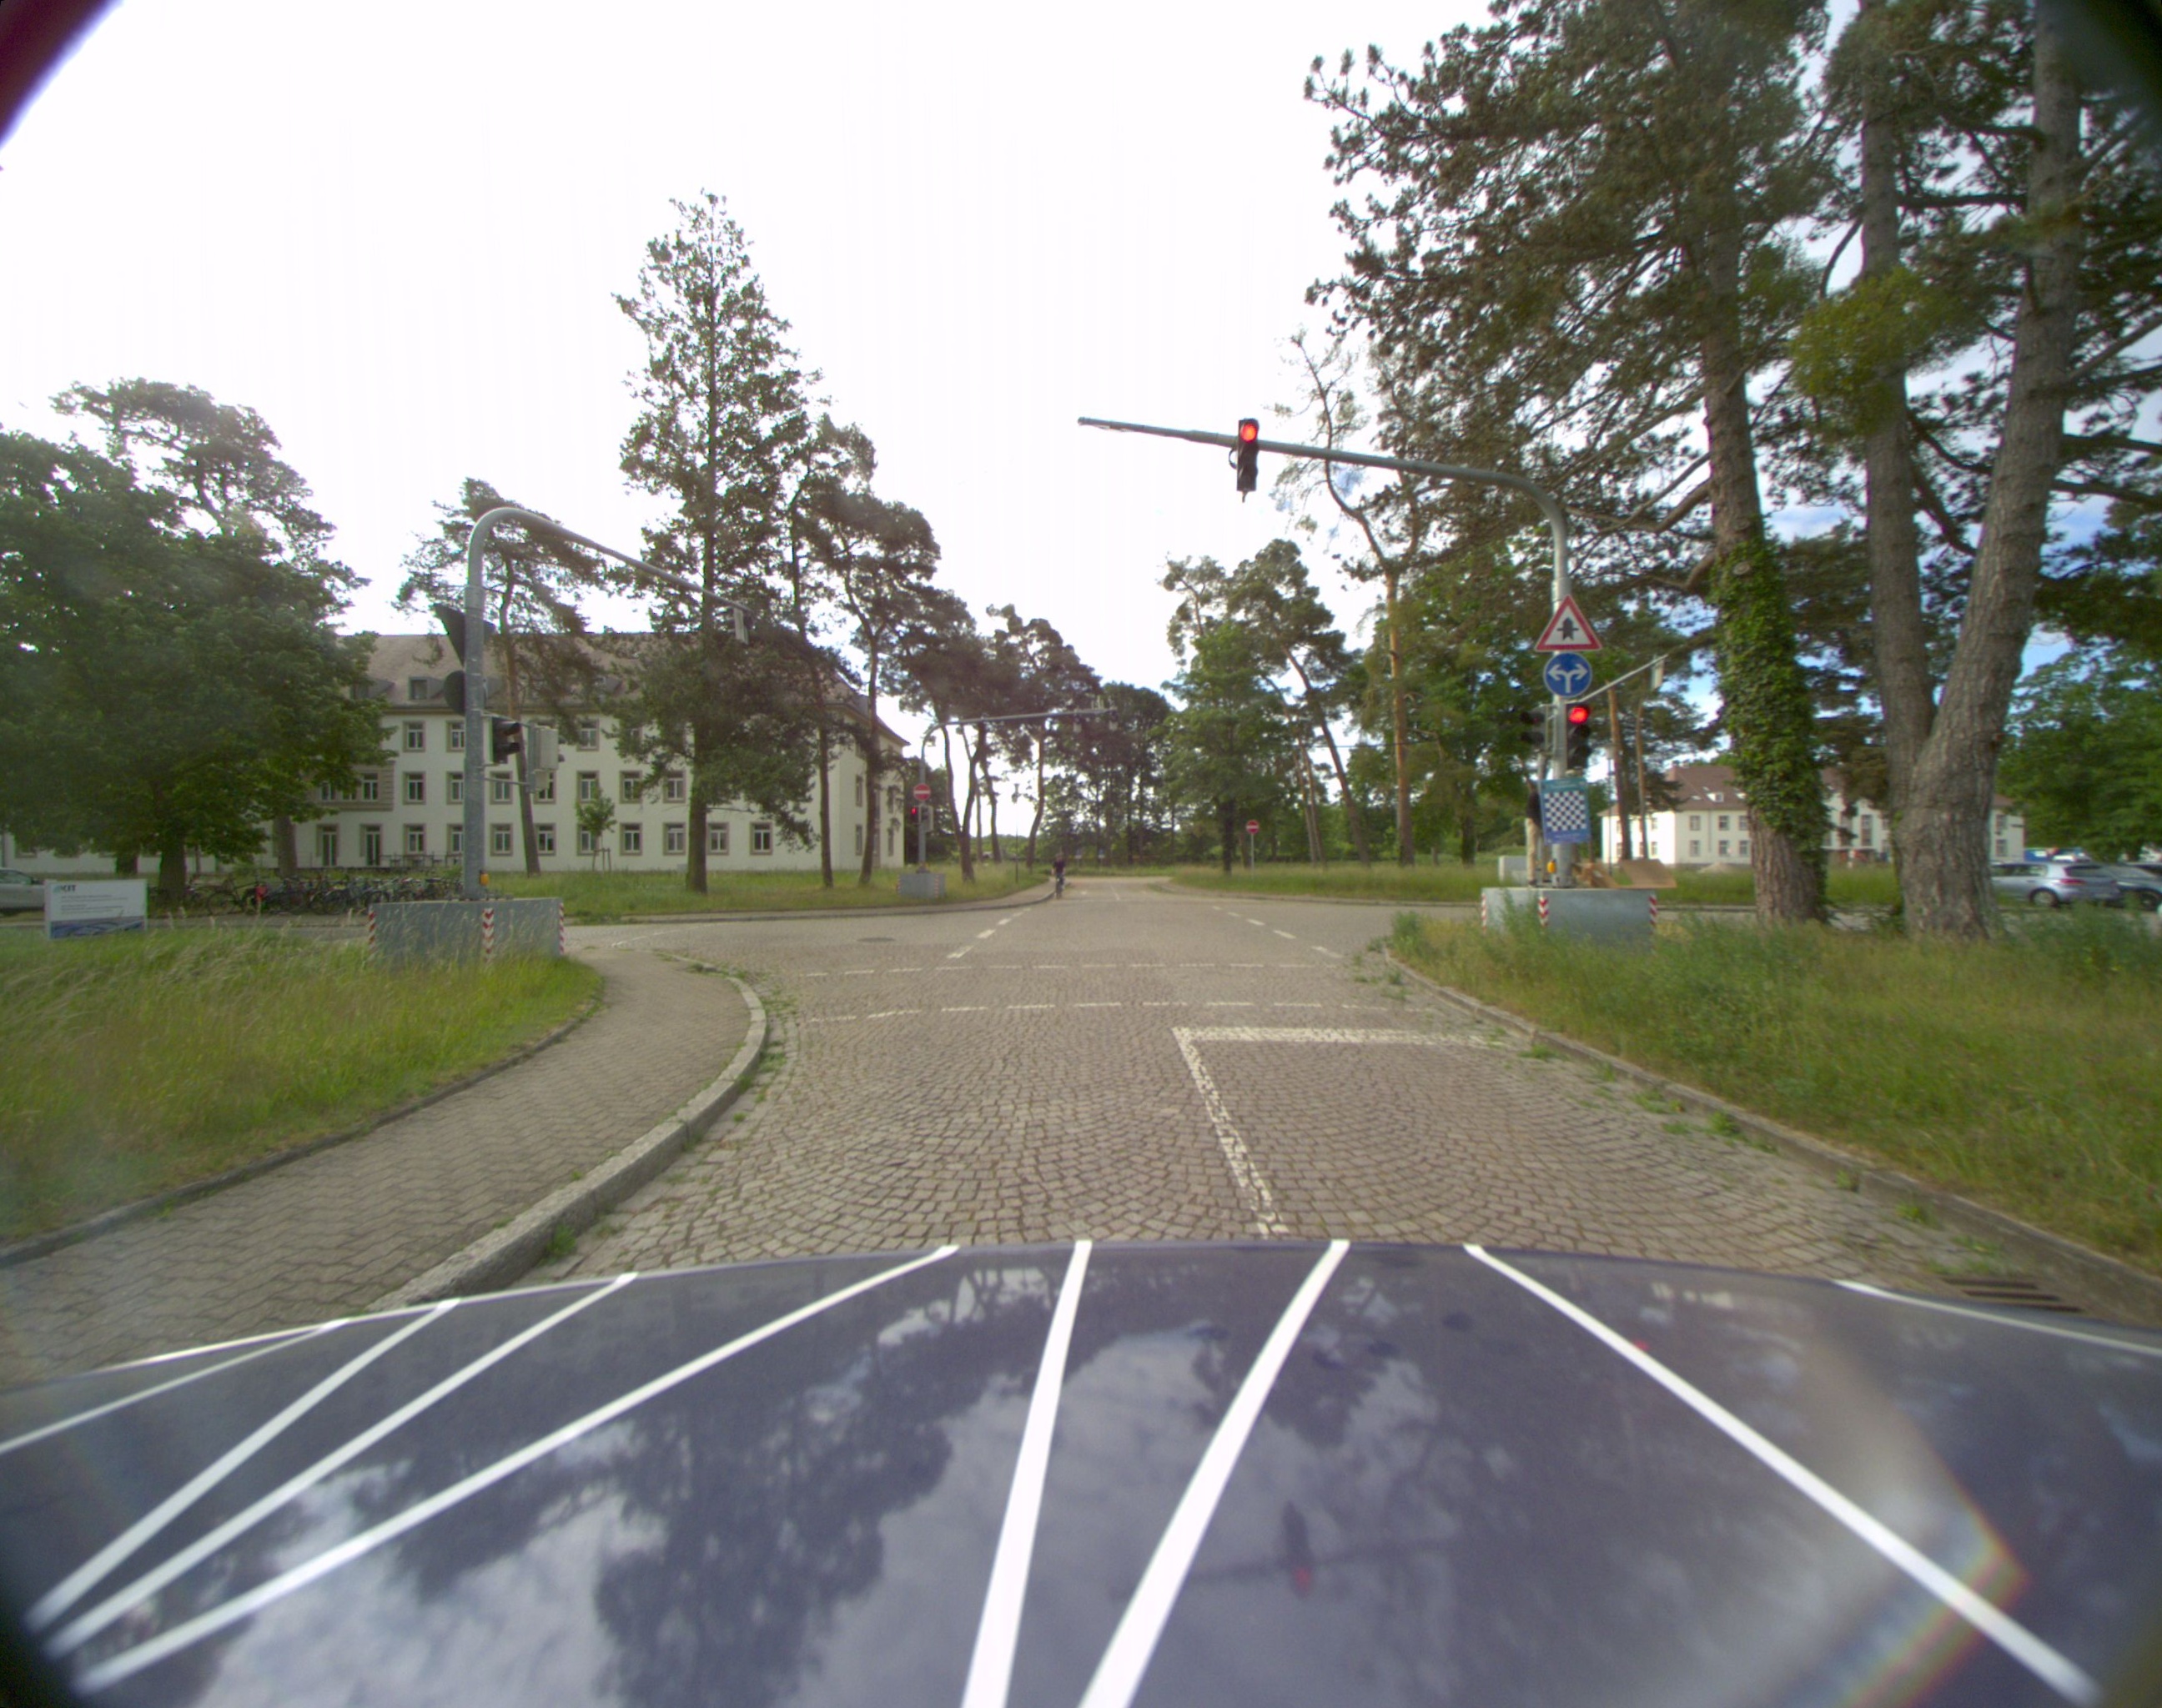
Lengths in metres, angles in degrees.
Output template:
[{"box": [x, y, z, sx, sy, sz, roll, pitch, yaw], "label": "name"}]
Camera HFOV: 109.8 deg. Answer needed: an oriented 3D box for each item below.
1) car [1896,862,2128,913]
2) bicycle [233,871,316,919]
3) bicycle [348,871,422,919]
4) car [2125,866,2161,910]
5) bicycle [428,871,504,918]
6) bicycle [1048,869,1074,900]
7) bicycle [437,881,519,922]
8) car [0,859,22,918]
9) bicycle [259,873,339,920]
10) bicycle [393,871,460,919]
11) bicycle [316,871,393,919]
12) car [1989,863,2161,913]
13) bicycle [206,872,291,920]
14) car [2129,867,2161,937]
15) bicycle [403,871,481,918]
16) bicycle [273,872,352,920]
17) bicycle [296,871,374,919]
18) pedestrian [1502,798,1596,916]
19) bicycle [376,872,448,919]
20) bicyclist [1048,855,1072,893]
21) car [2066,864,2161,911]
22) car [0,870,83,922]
[{"box": [30.599, 1.086, 25.239, 1.841, 1.537, 4.583, 0, -2, -6], "label": "car"}, {"box": [-23.927, 1.199, 22.587, 0.572, 1.324, 1.837, 0, 0, -4], "label": "bicycle"}, {"box": [-20.581, 1.191, 22.506, 0.572, 1.324, 1.837, 0, 0, -4], "label": "bicycle"}, {"box": [38.381, 1.119, 24.951, 1.840, 1.549, 4.585, 0, -2, -1], "label": "car"}, {"box": [-18.256, 1.181, 22.621, 0.572, 1.324, 1.839, 0, 0, 9], "label": "bicycle"}, {"box": [-0.839, 1.293, 33.113, 0.963, 1.268, 2.164, 0, 0, 3], "label": "bicycle"}, {"box": [-16.589, 1.294, 20.922, 1.836, 1.079, 0.573, 0, 2, 5], "label": "bicycle"}, {"box": [-35.794, 1.115, 22.377, 1.998, 1.874, 5.118, 0, 0, 1], "label": "car"}, {"box": [-23.328, 1.235, 22.725, 0.572, 1.324, 1.837, 0, 0, -4], "label": "bicycle"}, {"box": [-19.382, 1.188, 22.538, 0.482, 1.324, 1.837, 0, 0, -4], "label": "bicycle"}, {"box": [-21.436, 1.177, 22.466, 0.572, 1.324, 1.837, 0, 0, -4], "label": "bicycle"}, {"box": [33.315, 1.085, 24.788, 1.840, 1.512, 4.585, 0, -2, -1], "label": "car"}, {"box": [-24.639, 1.212, 22.528, 0.572, 1.324, 1.837, 0, 0, -4], "label": "bicycle"}, {"box": [23.366, 0.926, 13.920, 1.840, 1.441, 4.656, 0, -2, -1], "label": "car"}, {"box": [-18.885, 1.173, 22.517, 0.572, 1.324, 1.839, 0, 0, 9], "label": "bicycle"}, {"box": [-22.722, 1.217, 22.513, 0.572, 1.324, 1.837, 0, 0, -4], "label": "bicycle"}, {"box": [-22.001, 1.195, 22.449, 0.572, 1.324, 1.837, 0, 0, -4], "label": "bicycle"}, {"box": [6.303, 0.045, 10.282, 0.882, 1.508, 0.822, 0, 0, 15], "label": "pedestrian"}, {"box": [-19.814, 1.201, 22.557, 0.572, 1.324, 1.837, 0, 0, -4], "label": "bicycle"}, {"box": [-0.894, 0.845, 33.089, 0.963, 1.625, 0.918, 0, 0, 3], "label": "bicyclist"}, {"box": [35.983, 1.073, 24.709, 1.840, 1.512, 4.585, 0, -2, -1], "label": "car"}, {"box": [-32.763, 1.276, 23.006, 1.475, 1.500, 2.693, 0, 0, 1], "label": "car"}]
